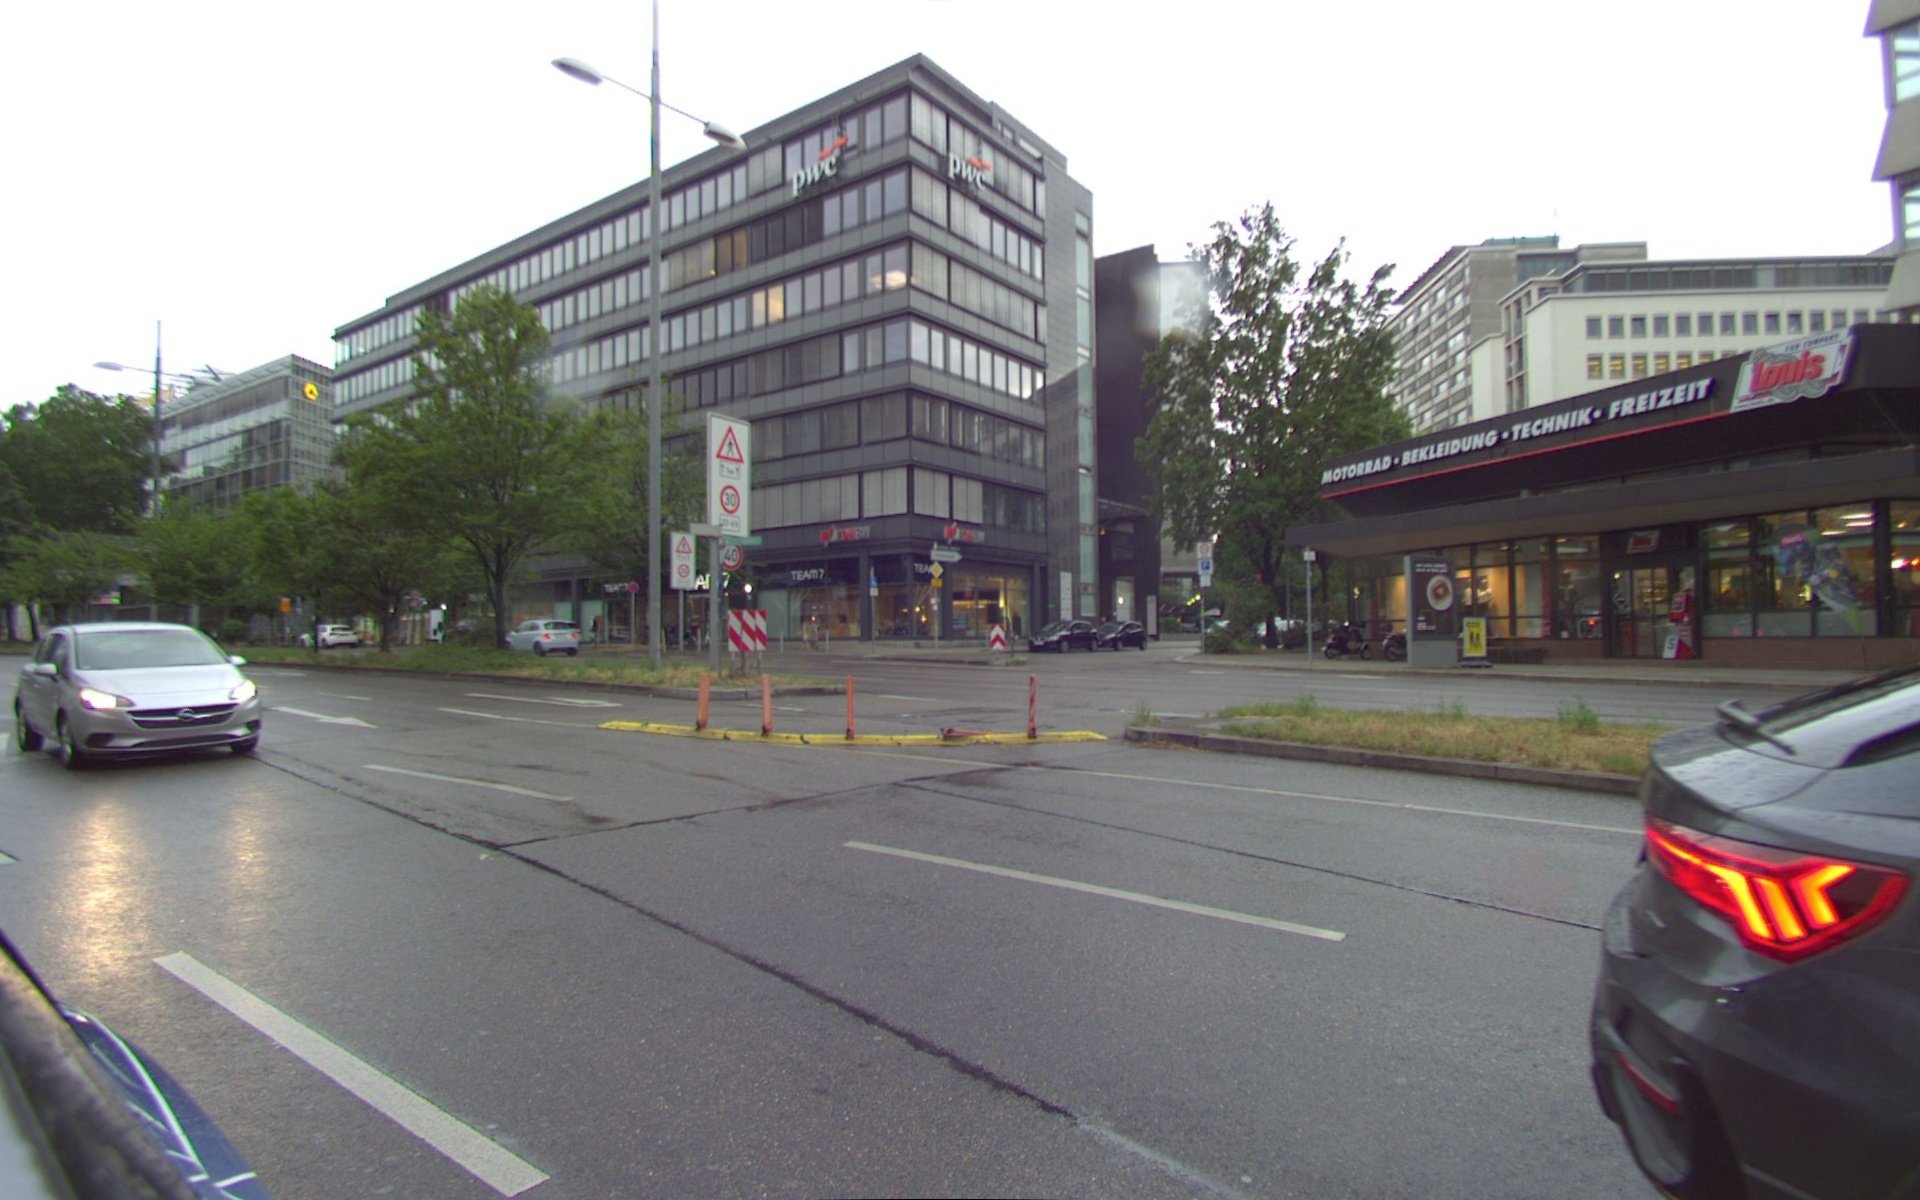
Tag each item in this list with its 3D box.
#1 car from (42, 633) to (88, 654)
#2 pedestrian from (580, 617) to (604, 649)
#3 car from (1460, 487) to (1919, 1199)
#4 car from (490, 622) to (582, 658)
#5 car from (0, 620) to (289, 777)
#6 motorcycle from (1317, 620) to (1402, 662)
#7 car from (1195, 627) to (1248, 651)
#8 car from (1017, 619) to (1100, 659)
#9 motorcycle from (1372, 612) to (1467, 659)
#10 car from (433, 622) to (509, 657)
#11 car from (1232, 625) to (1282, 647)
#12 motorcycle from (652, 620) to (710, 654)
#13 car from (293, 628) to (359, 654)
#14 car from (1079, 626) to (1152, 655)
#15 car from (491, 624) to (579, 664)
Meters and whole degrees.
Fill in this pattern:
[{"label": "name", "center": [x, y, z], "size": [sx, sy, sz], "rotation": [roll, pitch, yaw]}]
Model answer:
[{"label": "car", "center": [-69.758, 3.372, 78.858], "size": [4.478, 1.556, 1.973], "rotation": [-2, -2, 40]}, {"label": "pedestrian", "center": [-19.389, 1.753, 53.287], "size": [0.964, 1.650, 0.776], "rotation": [-2, -2, 36]}, {"label": "car", "center": [2.965, 0.569, 0.825], "size": [4.281, 1.446, 1.918], "rotation": [-2, -2, 38]}, {"label": "car", "center": [-20.011, 1.868, 47.667], "size": [4.764, 1.496, 1.792], "rotation": [-2, 2, 37]}, {"label": "car", "center": [-9.353, 0.991, 11.485], "size": [3.866, 1.454, 1.830], "rotation": [-2, -1, 39]}, {"label": "motorcycle", "center": [13.557, 1.386, 34.377], "size": [2.773, 1.343, 0.725], "rotation": [-1, -1, -15]}, {"label": "car", "center": [15.934, 2.339, 61.546], "size": [1.843, 1.298, 3.951], "rotation": [-1, -1, 36]}, {"label": "car", "center": [4.492, 1.714, 45.647], "size": [1.996, 1.652, 3.951], "rotation": [-1, -1, 36]}, {"label": "motorcycle", "center": [14.274, 1.086, 31.449], "size": [2.843, 1.384, 0.806], "rotation": [-1, -1, -16]}, {"label": "car", "center": [-24.879, 1.981, 51.401], "size": [4.304, 1.673, 1.791], "rotation": [-2, -1, 38]}, {"label": "car", "center": [19.389, 2.323, 65.958], "size": [1.844, 1.298, 3.950], "rotation": [-1, -1, 37]}, {"label": "motorcycle", "center": [-12.413, 1.651, 45.003], "size": [2.344, 1.404, 0.857], "rotation": [-1, 2, 10]}, {"label": "car", "center": [-38.260, 2.484, 61.061], "size": [4.298, 1.455, 1.794], "rotation": [-2, -1, 34]}, {"label": "car", "center": [7.606, 1.943, 49.265], "size": [1.844, 1.298, 3.950], "rotation": [-1, -1, 37]}, {"label": "car", "center": [-17.731, 1.799, 42.149], "size": [3.684, 1.585, 1.767], "rotation": [-2, -2, 37]}]
